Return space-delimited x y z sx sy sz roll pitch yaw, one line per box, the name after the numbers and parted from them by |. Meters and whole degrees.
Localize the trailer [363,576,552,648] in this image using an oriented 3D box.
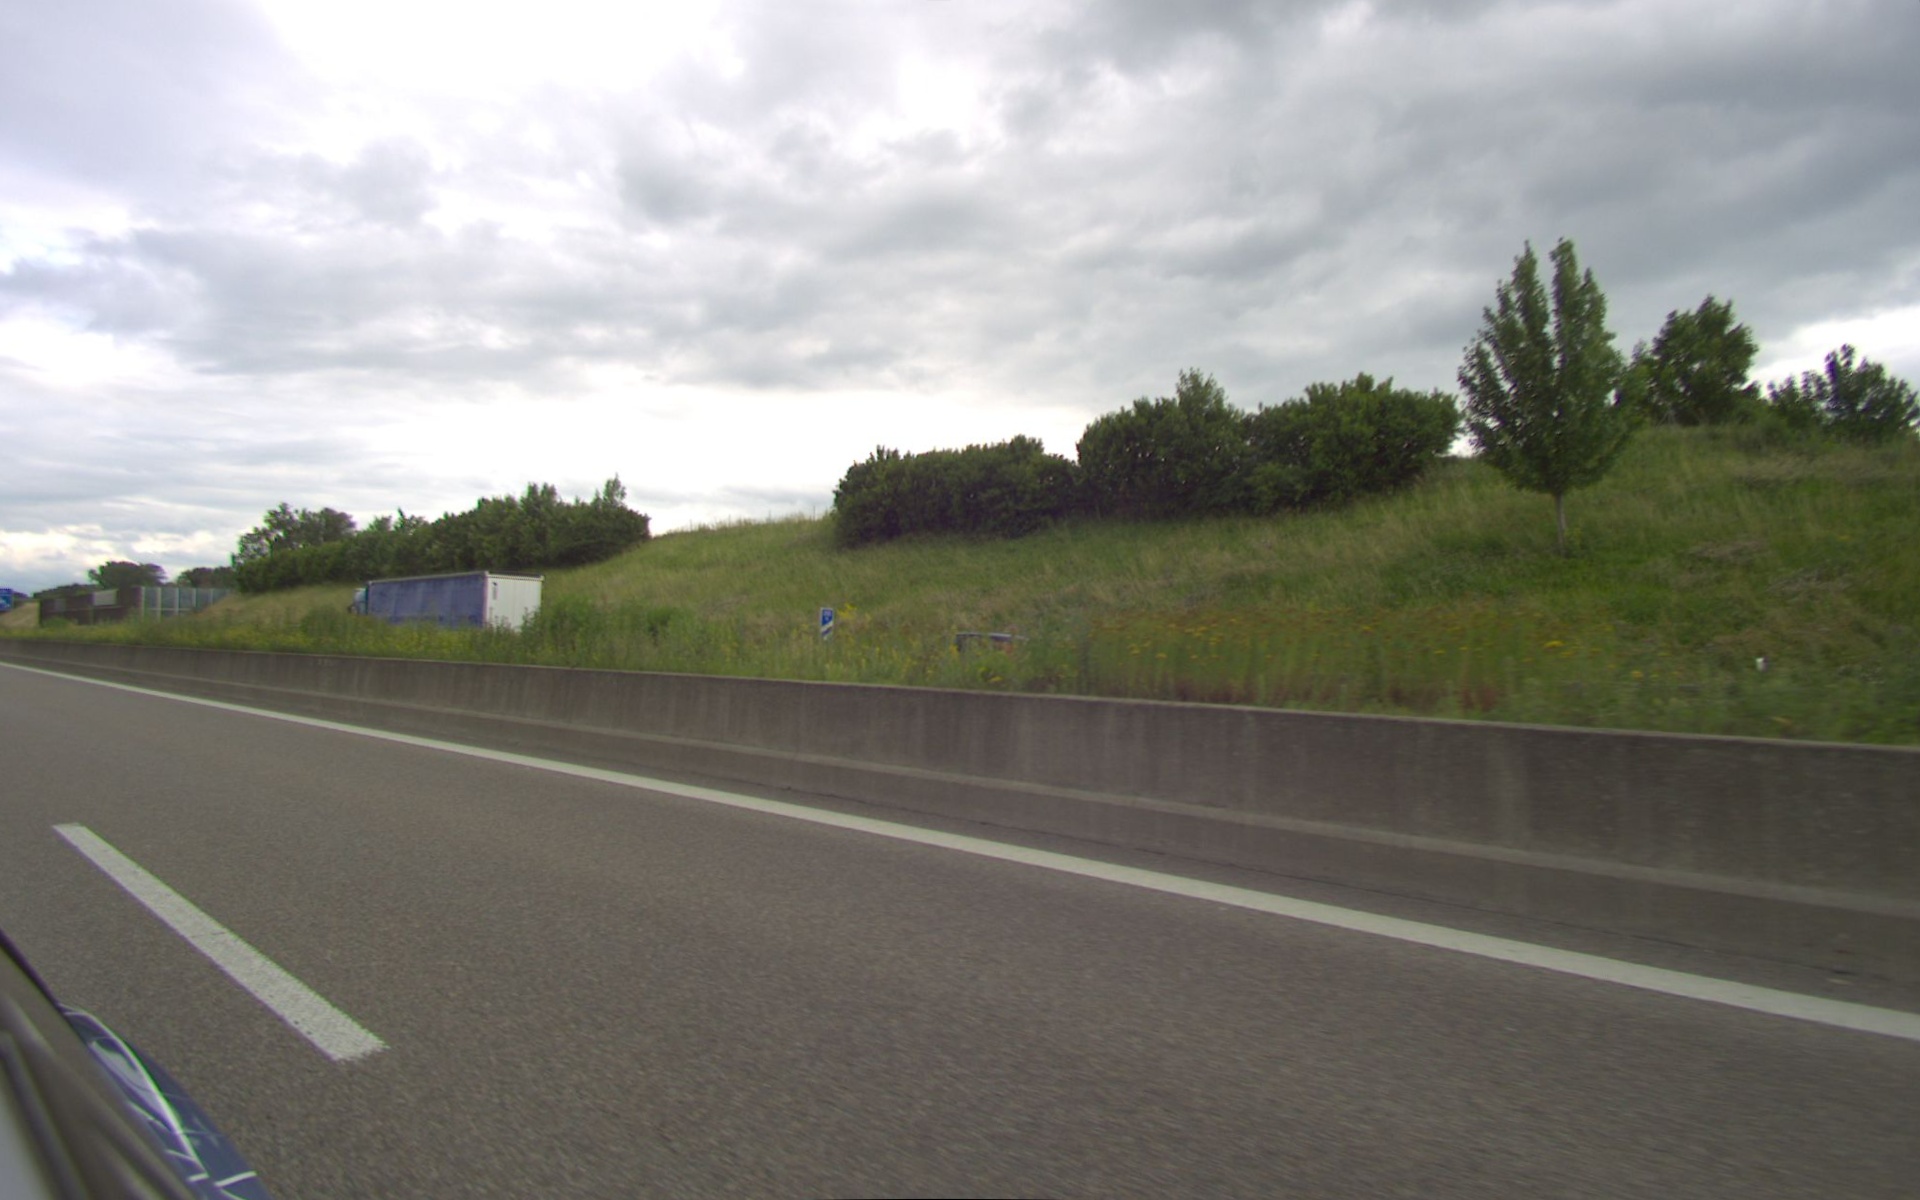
-24.052 0.604 47.789 13.964 2.978 2.891 -1 0 41 | trailer

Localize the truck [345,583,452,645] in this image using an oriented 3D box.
-28.963 0.714 52.113 6.112 2.968 2.880 -1 0 41 | truck
